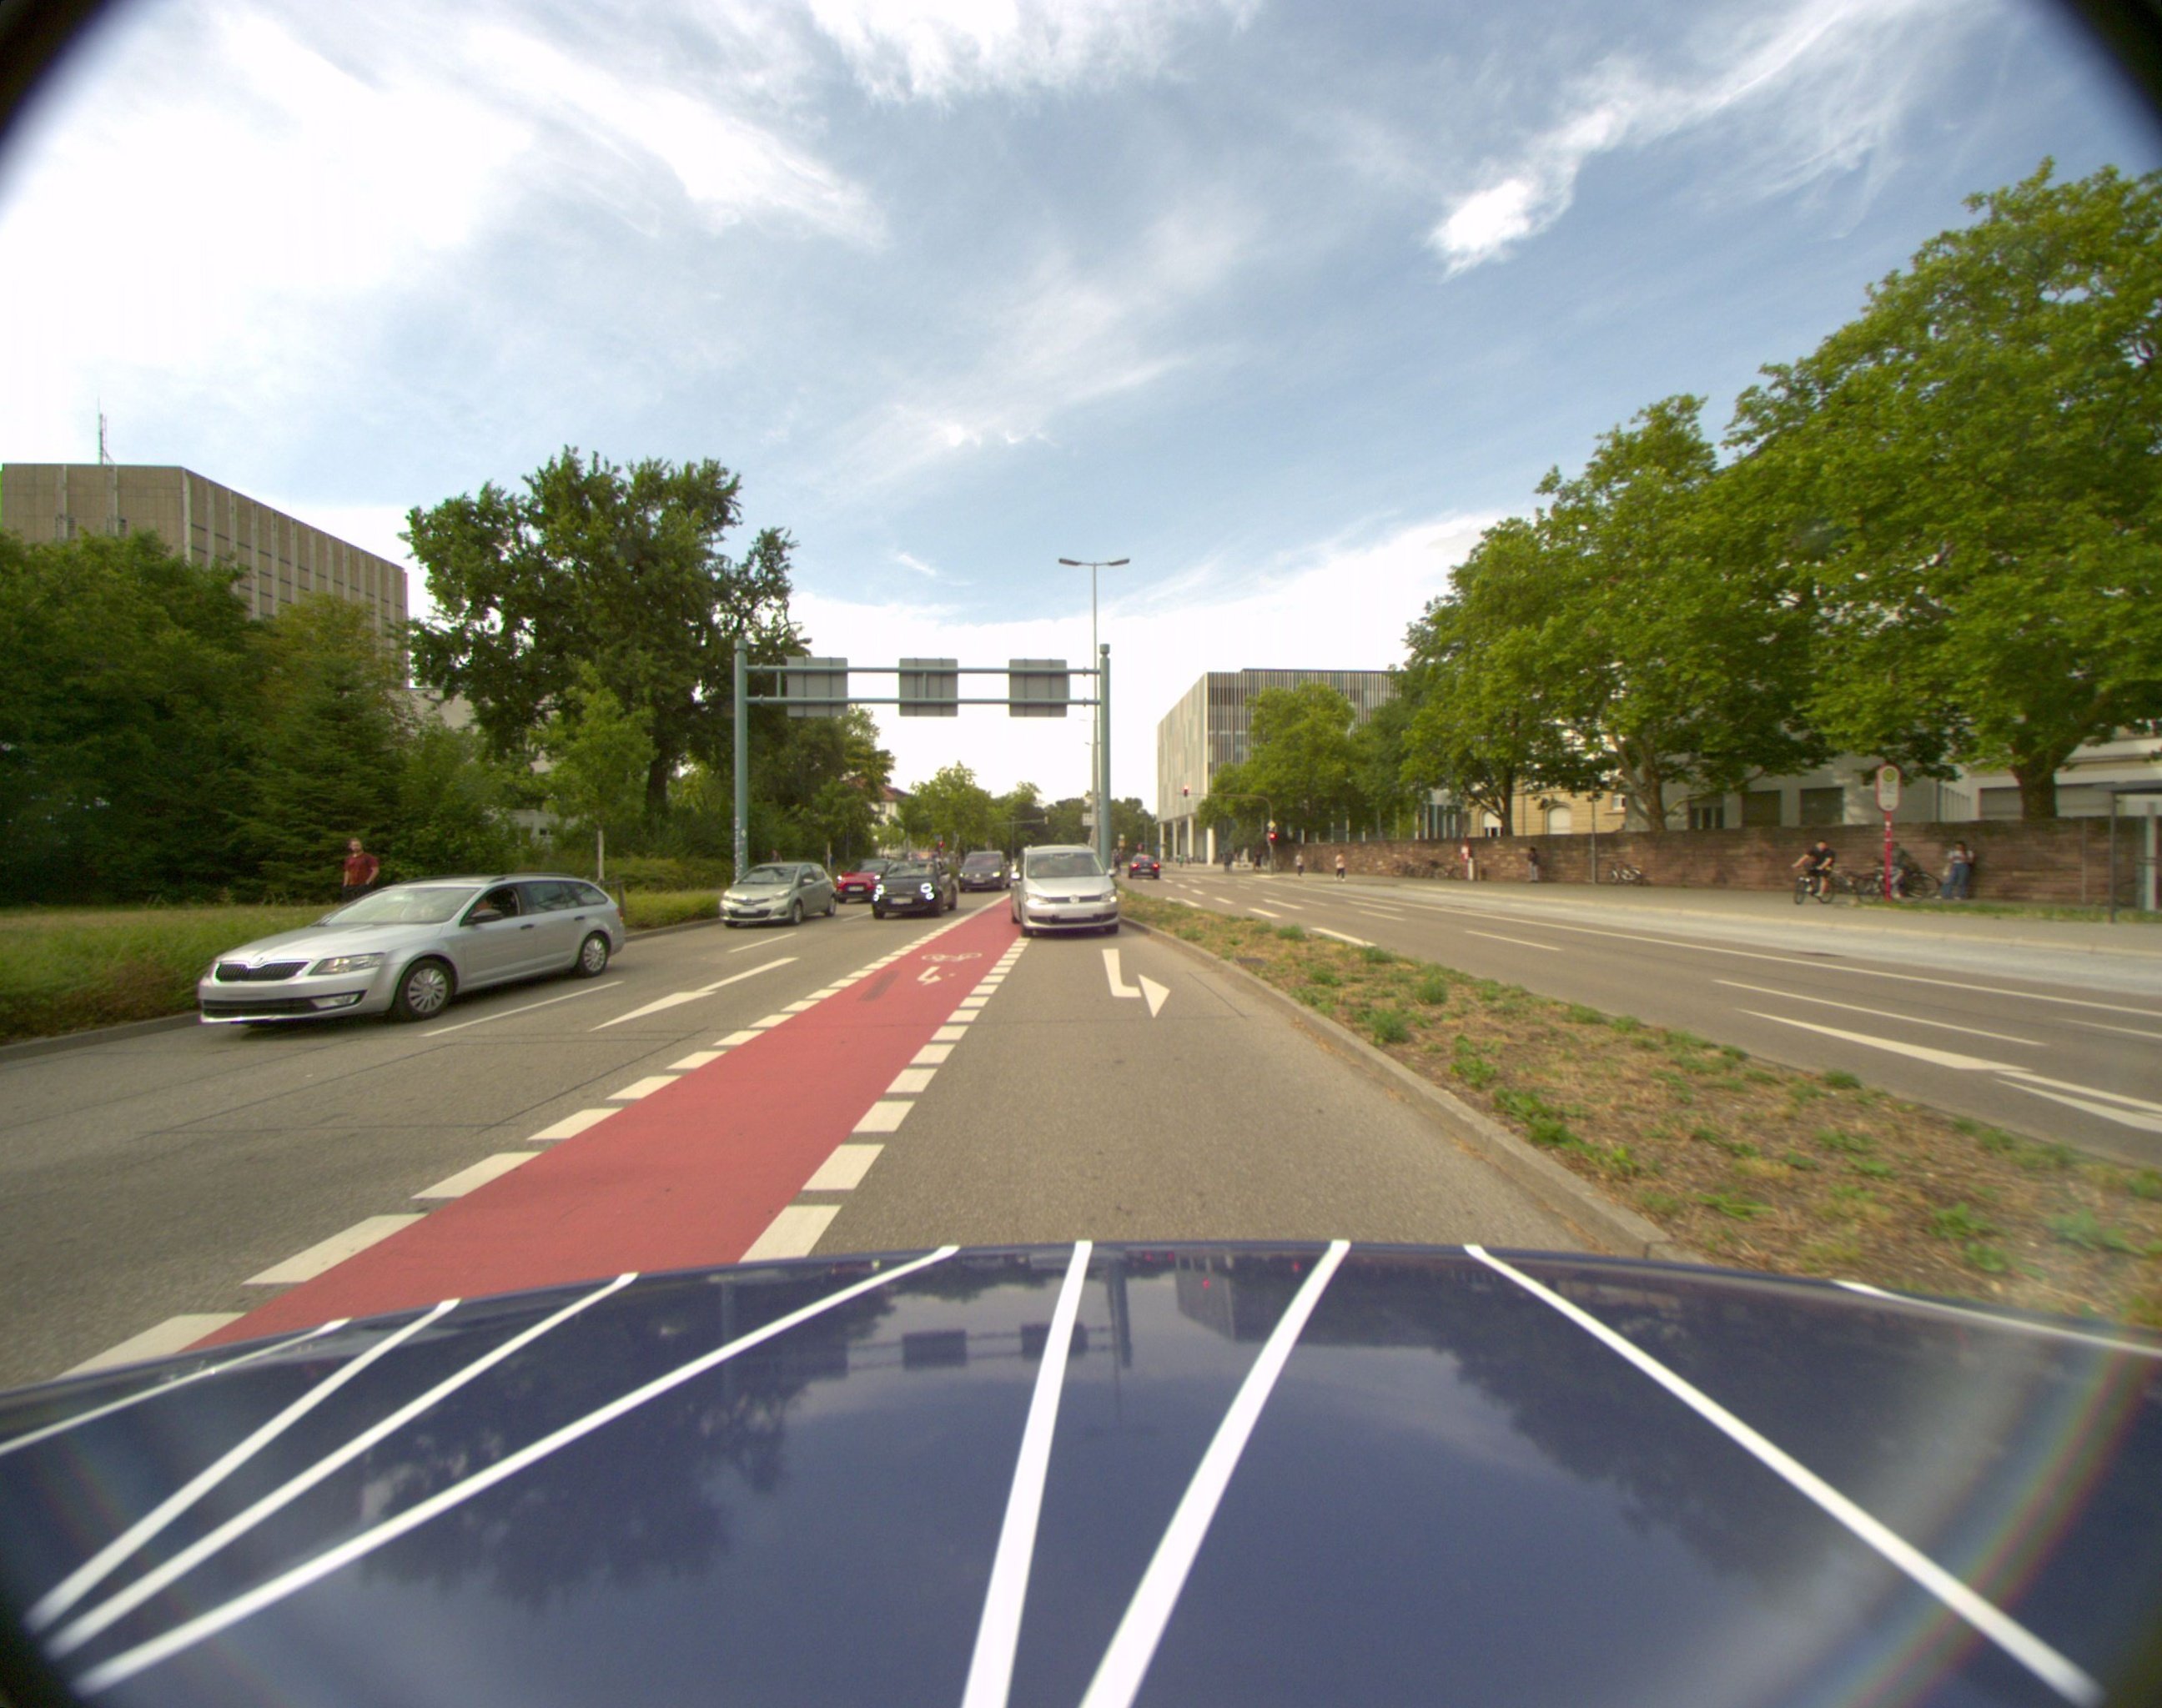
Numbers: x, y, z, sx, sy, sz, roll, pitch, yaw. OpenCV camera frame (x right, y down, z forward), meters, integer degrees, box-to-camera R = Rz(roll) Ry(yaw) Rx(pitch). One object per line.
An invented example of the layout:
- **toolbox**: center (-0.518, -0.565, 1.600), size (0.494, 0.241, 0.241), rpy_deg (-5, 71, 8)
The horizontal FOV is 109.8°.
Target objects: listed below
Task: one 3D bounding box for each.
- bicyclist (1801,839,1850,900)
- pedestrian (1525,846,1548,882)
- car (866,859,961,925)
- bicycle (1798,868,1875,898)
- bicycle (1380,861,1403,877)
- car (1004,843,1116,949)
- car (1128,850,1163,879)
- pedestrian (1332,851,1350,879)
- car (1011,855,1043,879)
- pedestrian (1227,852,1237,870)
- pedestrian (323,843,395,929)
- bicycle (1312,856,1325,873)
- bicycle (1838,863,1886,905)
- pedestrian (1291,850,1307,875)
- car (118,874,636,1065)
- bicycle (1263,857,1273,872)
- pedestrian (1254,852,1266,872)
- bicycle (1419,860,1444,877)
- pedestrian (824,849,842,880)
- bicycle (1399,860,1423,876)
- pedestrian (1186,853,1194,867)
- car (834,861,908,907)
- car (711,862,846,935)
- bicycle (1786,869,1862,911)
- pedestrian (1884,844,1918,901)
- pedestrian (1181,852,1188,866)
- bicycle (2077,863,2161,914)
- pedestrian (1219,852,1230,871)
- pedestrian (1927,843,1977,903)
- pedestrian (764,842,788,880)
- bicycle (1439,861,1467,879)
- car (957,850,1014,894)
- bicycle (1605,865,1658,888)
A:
- **bicyclist**: center (19.555, 0.401, 19.977), size (0.579, 1.547, 0.798), rpy_deg (0, 3, 15)
- **pedestrian**: center (20.728, 0.461, 34.549), size (0.756, 1.612, 0.664), rpy_deg (-3, 2, -40)
- **car**: center (-4.299, 0.920, 19.987), size (1.670, 1.481, 3.441), rpy_deg (-2, 1, 1)
- **bicycle**: center (23.681, 0.893, 23.842), size (0.662, 0.882, 1.574), rpy_deg (-4, 1, -19)
- **bicycle**: center (18.750, 0.895, 45.880), size (0.433, 0.882, 1.575), rpy_deg (-4, 1, -10)
- **car**: center (-0.329, 0.691, 15.151), size (1.824, 1.724, 4.528), rpy_deg (-2, 1, 1)
- **car**: center (3.887, 0.614, 46.296), size (1.759, 1.615, 3.867), rpy_deg (-2, 1, 1)
- **pedestrian**: center (14.878, 0.625, 43.506), size (0.754, 1.612, 0.665), rpy_deg (-2, 1, -5)
- **car**: center (-3.607, 0.833, 51.260), size (1.759, 1.450, 4.223), rpy_deg (-2, 1, 1)
- **pedestrian**: center (13.792, 0.637, 69.430), size (0.754, 1.612, 0.665), rpy_deg (-2, 1, -5)
- **pedestrian**: center (-14.755, 0.644, 15.554), size (0.714, 1.701, 0.695), rpy_deg (-2, 1, 1)
- **bicycle**: center (17.443, 0.741, 55.833), size (0.513, 1.202, 1.395), rpy_deg (-2, 1, 1)
- **bicycle**: center (22.969, 0.880, 22.326), size (2.103, 1.182, 0.756), rpy_deg (2, -1, -39)
- **pedestrian**: center (14.226, 0.544, 49.524), size (0.754, 1.612, 0.665), rpy_deg (-2, 1, -5)
- **car**: center (-7.576, 1.092, 9.016), size (1.824, 1.466, 4.528), rpy_deg (-2, 1, 1)
- **bicycle**: center (16.540, 0.915, 67.107), size (0.513, 1.202, 1.395), rpy_deg (-2, 1, 1)
- **pedestrian**: center (14.716, 0.651, 62.526), size (0.754, 1.612, 0.665), rpy_deg (-2, 1, -5)
- **bicycle**: center (19.519, 0.812, 42.336), size (0.433, 0.882, 1.575), rpy_deg (-4, 1, -10)
- **pedestrian**: center (-14.080, 0.609, 43.189), size (0.714, 1.701, 0.695), rpy_deg (-2, 1, 1)
- **bicycle**: center (19.088, 0.810, 44.016), size (0.433, 0.882, 1.575), rpy_deg (-4, 1, -10)
- **pedestrian**: center (13.000, 0.729, 90.350), size (0.754, 1.612, 0.665), rpy_deg (-2, 1, -5)
- **car**: center (-7.311, 0.998, 26.767), size (1.670, 1.407, 3.456), rpy_deg (-2, 1, -1)
- **car**: center (-7.330, 1.007, 18.841), size (1.670, 1.481, 3.875), rpy_deg (-2, 1, 1)
- **bicycle**: center (19.584, 0.931, 20.078), size (0.505, 0.930, 1.973), rpy_deg (0, 2, 15)
- **pedestrian**: center (23.875, 0.536, 22.113), size (0.569, 1.612, 0.484), rpy_deg (-3, 1, -21)
- **pedestrian**: center (12.913, 0.619, 94.985), size (0.754, 1.612, 0.665), rpy_deg (-2, 1, -5)
- **bicycle**: center (25.603, 0.823, 18.126), size (0.759, 1.182, 2.095), rpy_deg (2, -1, -21)
- **pedestrian**: center (13.046, 0.670, 69.030), size (0.754, 1.612, 0.665), rpy_deg (-2, 1, -5)
- **pedestrian**: center (24.445, 0.523, 21.333), size (0.569, 1.612, 0.753), rpy_deg (-3, 1, -21)
- **pedestrian**: center (-14.036, 0.304, 34.956), size (0.714, 1.701, 0.695), rpy_deg (-2, 1, 1)
- **bicycle**: center (19.664, 0.830, 40.189), size (0.433, 0.882, 1.575), rpy_deg (-4, 1, -10)
- **car**: center (-4.058, 0.715, 32.939), size (1.759, 1.641, 4.685), rpy_deg (-2, 1, 1)
- **bicycle**: center (21.875, 0.882, 30.216), size (0.662, 0.882, 1.574), rpy_deg (-4, 1, -19)
